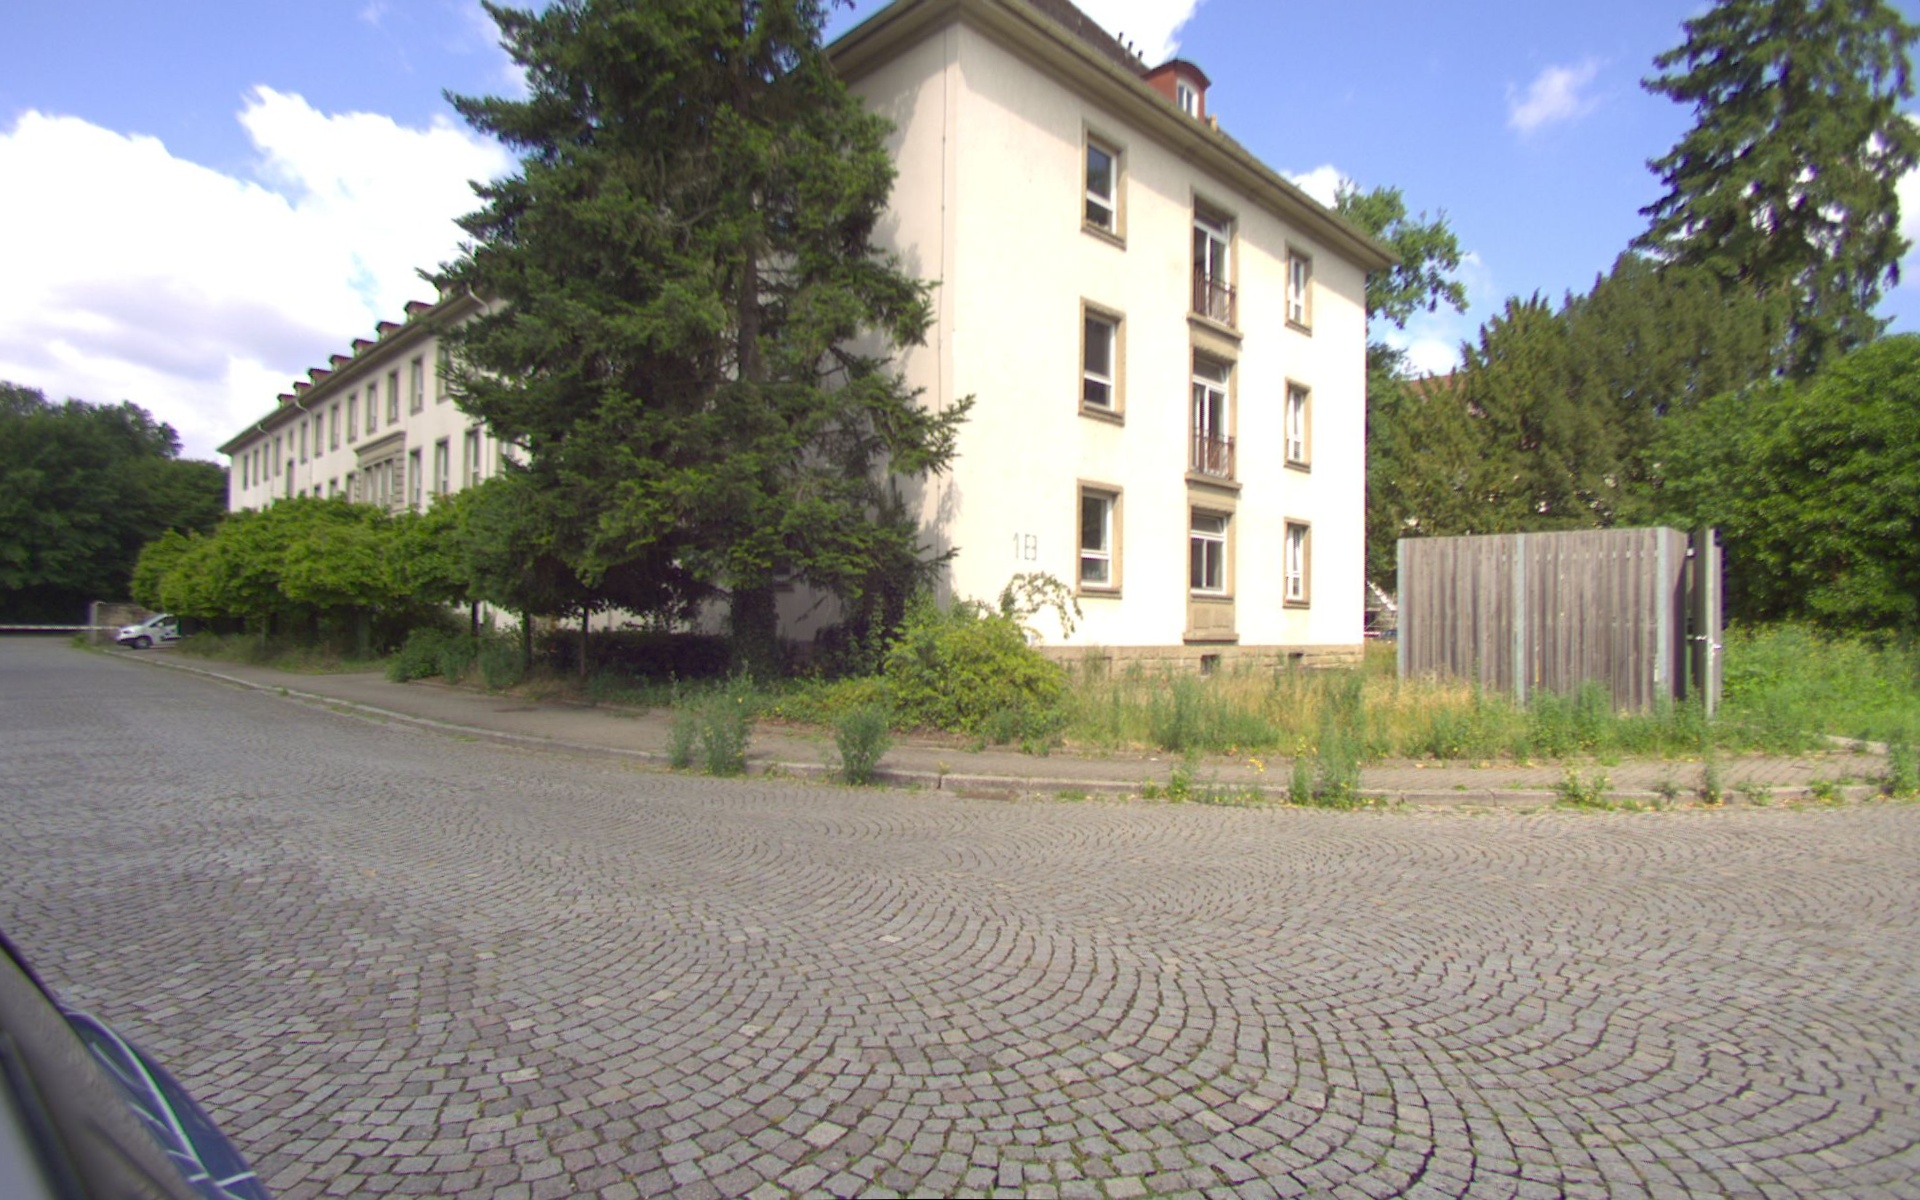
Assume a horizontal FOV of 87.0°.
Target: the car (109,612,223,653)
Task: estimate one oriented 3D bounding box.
[{"bbox_3d":[-39.836,1.583,50.856,1.820,1.819,4.255,-1,1,42],"label":"car"}]
